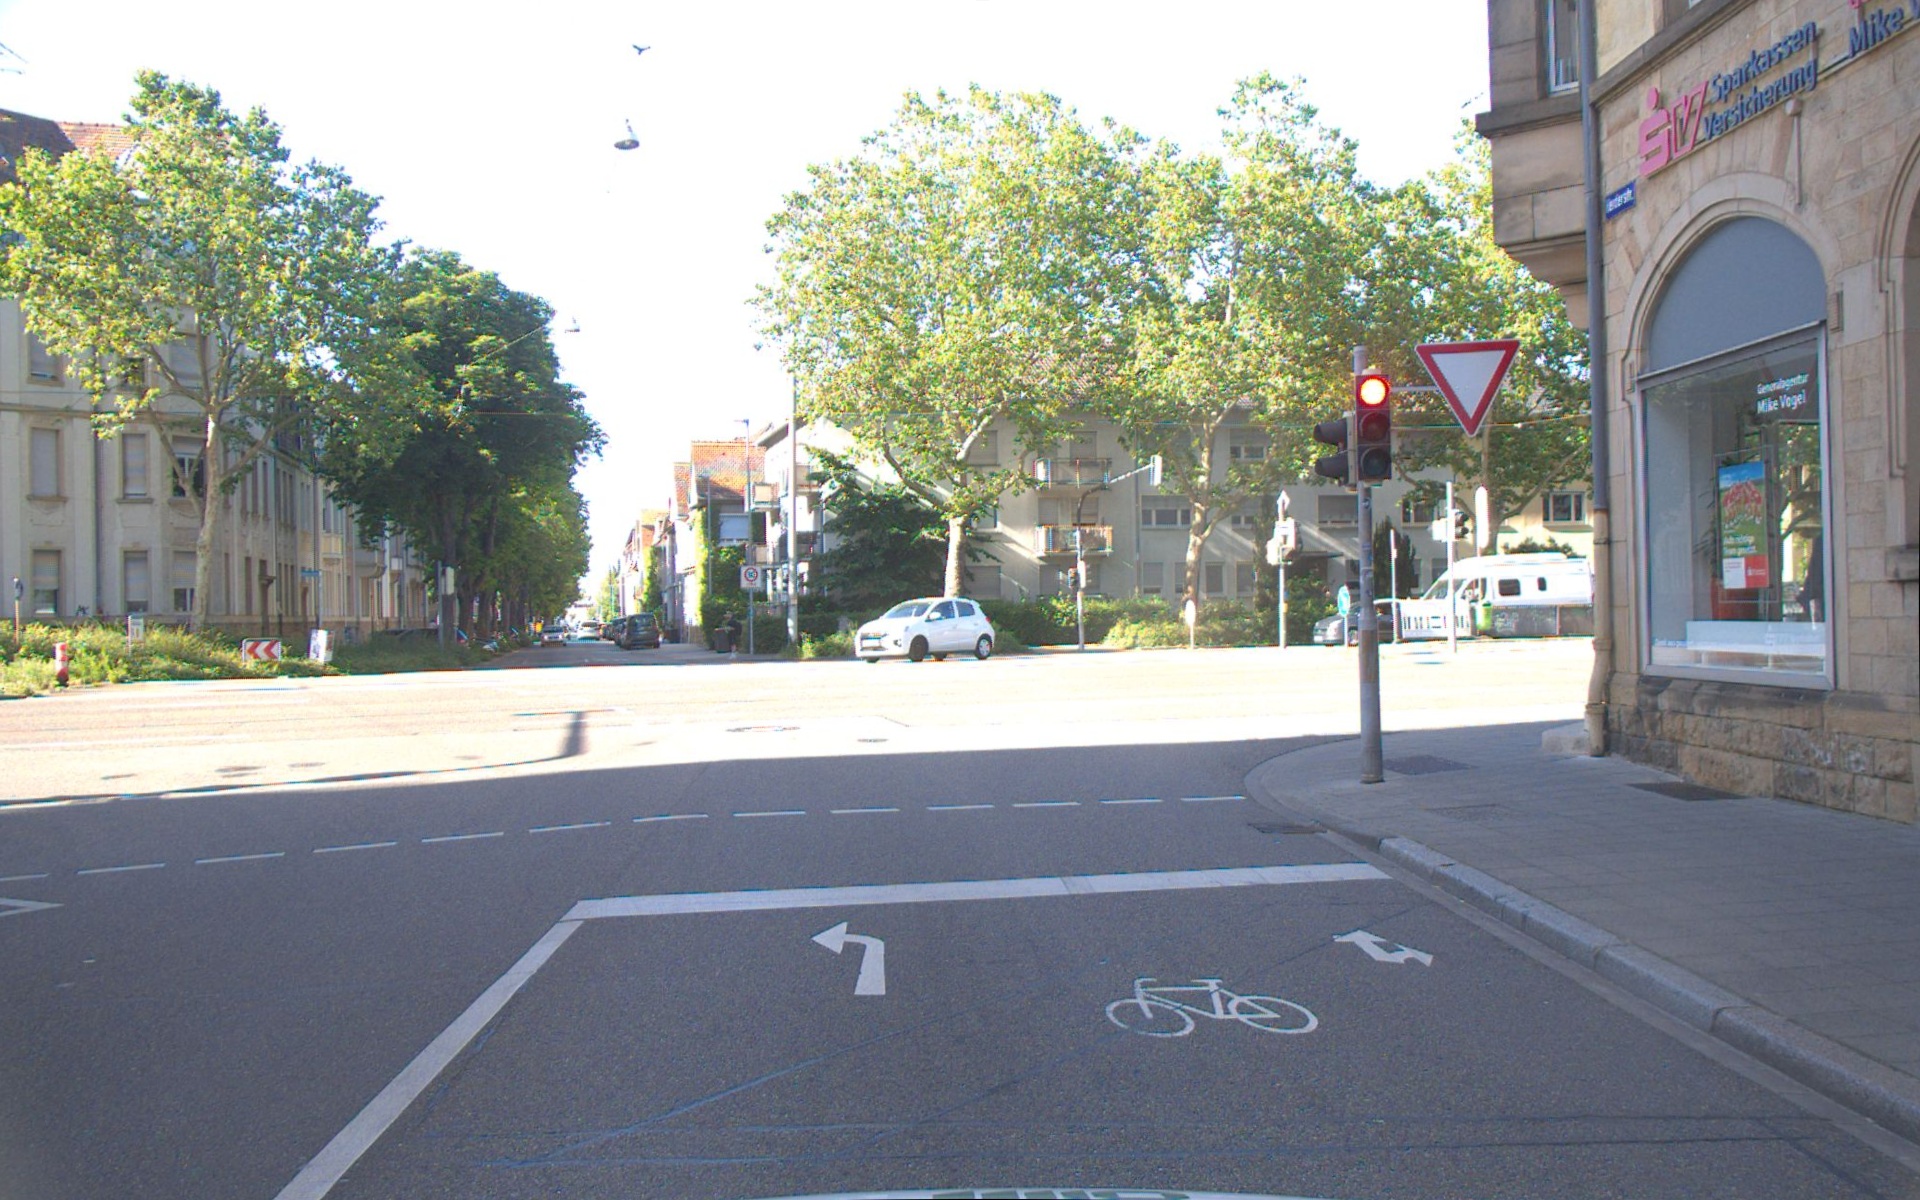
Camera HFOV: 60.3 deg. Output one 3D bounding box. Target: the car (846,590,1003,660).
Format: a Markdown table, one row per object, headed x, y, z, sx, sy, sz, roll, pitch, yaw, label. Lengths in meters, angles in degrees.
| x | y | z | sx | sy | sz | roll | pitch | yaw | label |
| --- | --- | --- | --- | --- | --- | --- | --- | --- | --- |
| -0.803 | 0.576 | 39.214 | 1.600 | 1.498 | 3.778 | -2 | 0 | 41 | car |

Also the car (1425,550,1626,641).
| x | y | z | sx | sy | sz | roll | pitch | yaw | label |
| --- | --- | --- | --- | --- | --- | --- | --- | --- | --- |
| 17.633 | -0.159 | 51.581 | 5.949 | 2.613 | 1.989 | -2 | 0 | -19 | car |

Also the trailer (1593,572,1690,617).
| x | y | z | sx | sy | sz | roll | pitch | yaw | label |
| --- | --- | --- | --- | --- | --- | --- | --- | --- | --- |
| 21.778 | -0.183 | 52.876 | 2.699 | 1.334 | 1.263 | -2 | 0 | -20 | trailer |

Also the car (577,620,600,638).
| x | y | z | sx | sy | sz | roll | pitch | yaw | label |
| --- | --- | --- | --- | --- | --- | --- | --- | --- | --- |
| -31.879 | 2.497 | 141.962 | 1.643 | 1.509 | 3.514 | 0 | -1 | -9 | car |

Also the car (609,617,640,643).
| x | y | z | sx | sy | sz | roll | pitch | yaw | label |
| --- | --- | --- | --- | --- | --- | --- | --- | --- | --- |
| -25.307 | 2.250 | 124.759 | 1.961 | 1.865 | 3.982 | 0 | -1 | -16 | car |

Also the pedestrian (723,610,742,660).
| x | y | z | sx | sy | sz | roll | pitch | yaw | label |
| --- | --- | --- | --- | --- | --- | --- | --- | --- | --- |
| -8.246 | 1.259 | 60.020 | 0.621 | 1.780 | 0.658 | 0 | -1 | -5 | pedestrian |

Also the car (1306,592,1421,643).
| x | y | z | sx | sy | sz | roll | pitch | yaw | label |
| --- | --- | --- | --- | --- | --- | --- | --- | --- | --- |
| 13.027 | 0.555 | 53.382 | 3.333 | 1.513 | 1.514 | -2 | 0 | -23 | car |

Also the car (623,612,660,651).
| x | y | z | sx | sy | sz | roll | pitch | yaw | label |
| --- | --- | --- | --- | --- | --- | --- | --- | --- | --- |
| -18.170 | 1.769 | 94.392 | 1.957 | 2.049 | 3.990 | -2 | 0 | -10 | car |

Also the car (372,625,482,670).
| x | y | z | sx | sy | sz | roll | pitch | yaw | label |
| --- | --- | --- | --- | --- | --- | --- | --- | --- | --- |
| -20.418 | 1.800 | 63.408 | 3.928 | 1.512 | 1.672 | -2 | 0 | -20 | car |

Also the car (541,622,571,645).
| x | y | z | sx | sy | sz | roll | pitch | yaw | label |
| --- | --- | --- | --- | --- | --- | --- | --- | --- | --- |
| -28.485 | 2.371 | 116.581 | 1.960 | 1.471 | 3.984 | -2 | 0 | -15 | car |
